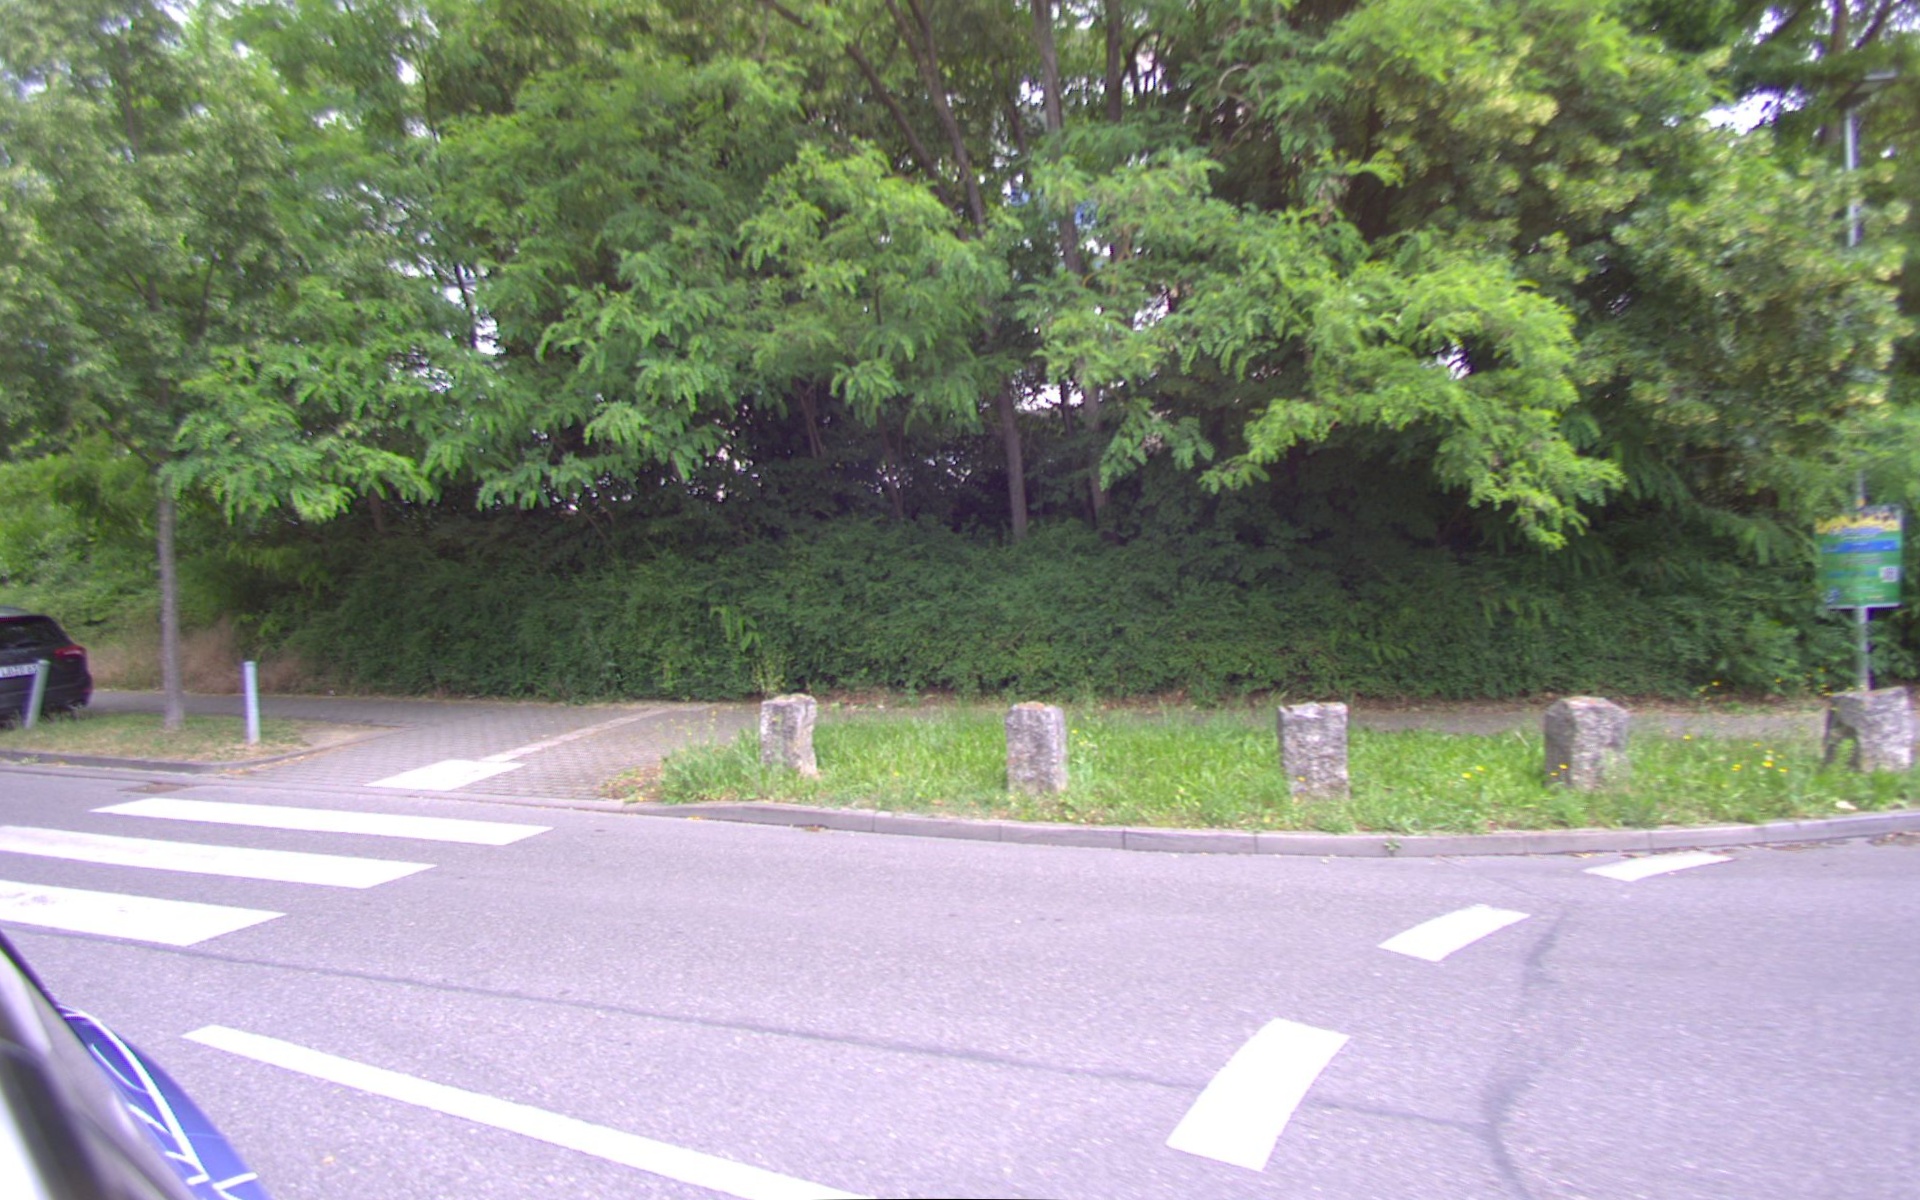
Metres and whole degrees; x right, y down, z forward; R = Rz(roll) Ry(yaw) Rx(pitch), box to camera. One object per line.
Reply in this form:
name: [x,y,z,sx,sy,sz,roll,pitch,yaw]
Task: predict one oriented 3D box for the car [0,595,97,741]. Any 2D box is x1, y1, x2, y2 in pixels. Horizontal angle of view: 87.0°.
car: [-12.151,0.779,11.366,4.421,1.475,1.685,-1,4,19]
